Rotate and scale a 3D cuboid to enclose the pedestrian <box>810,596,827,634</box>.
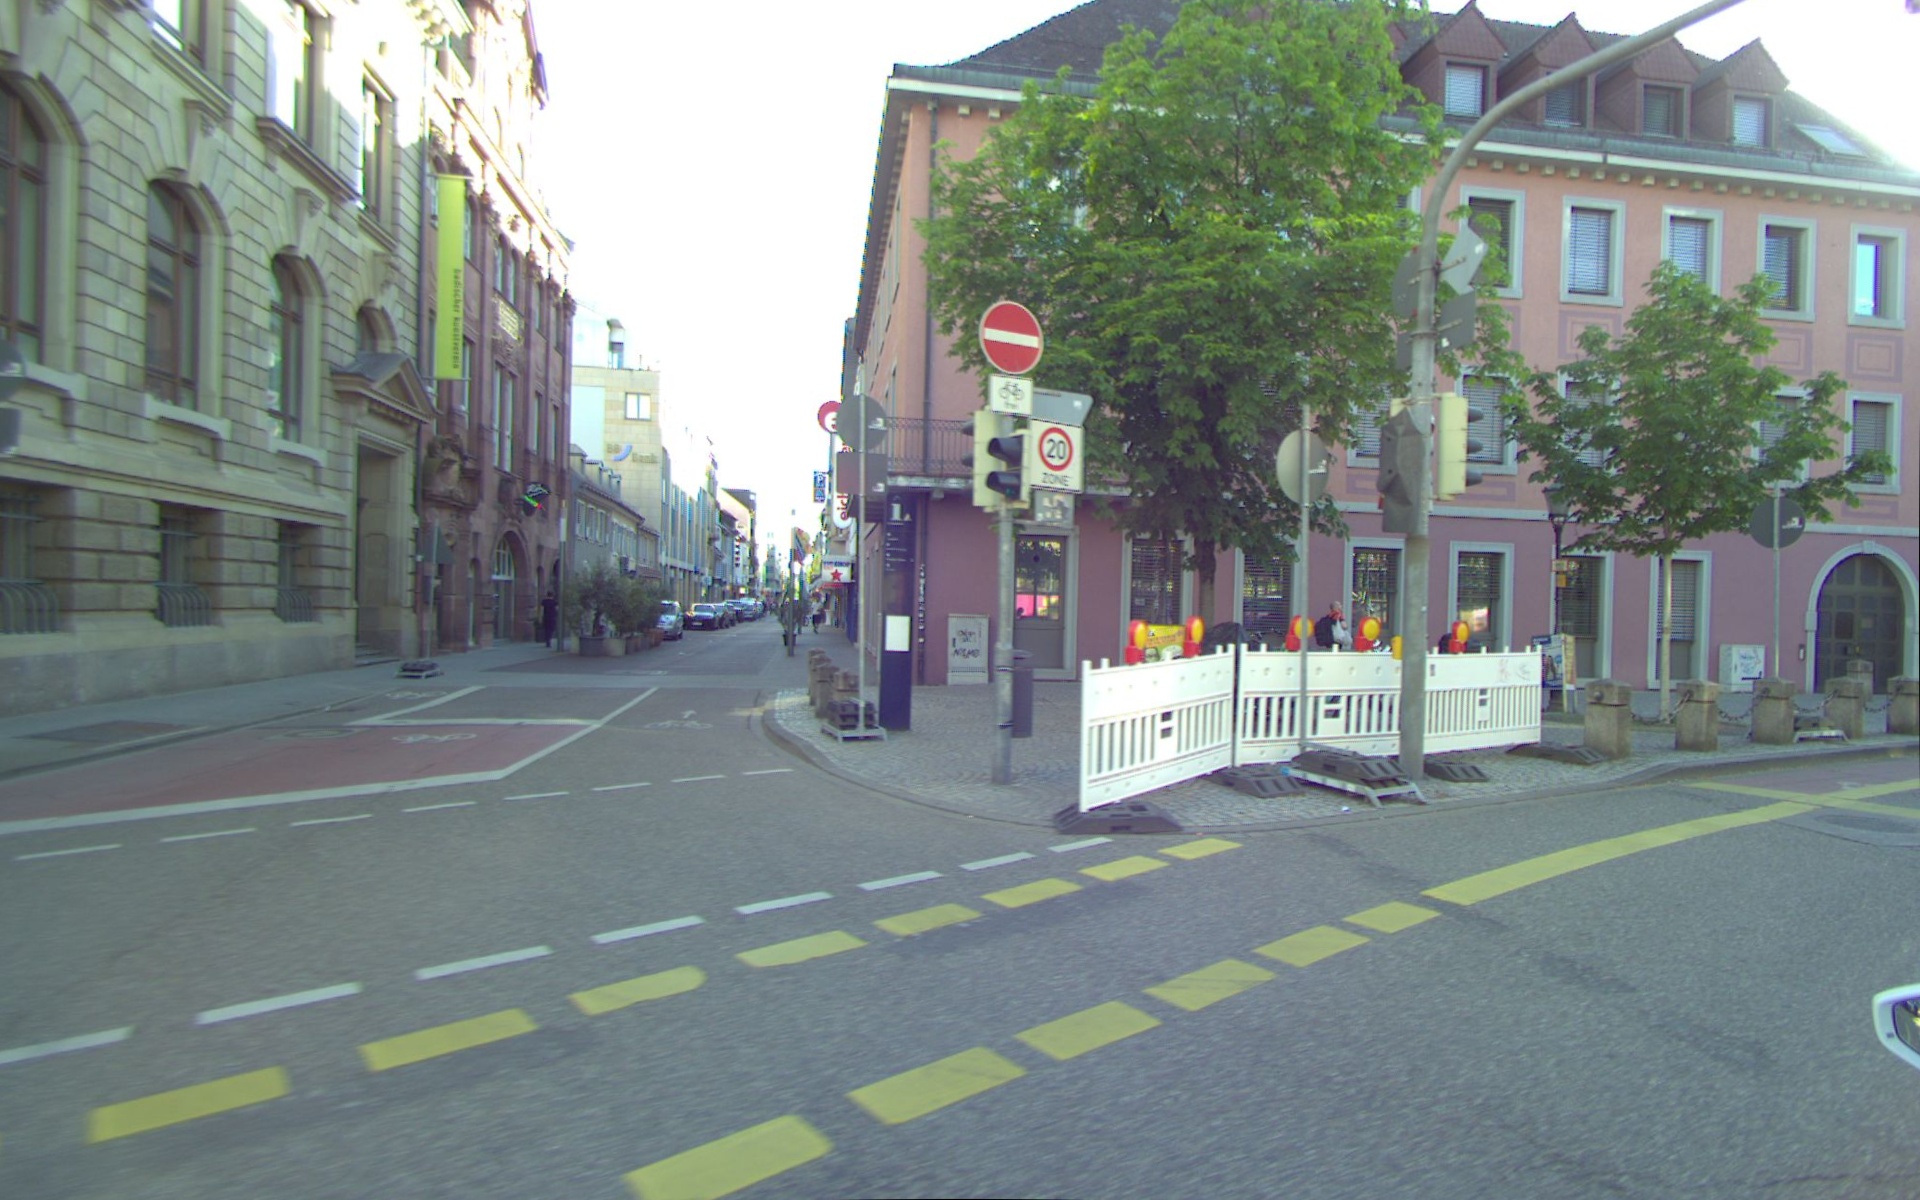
[{"bbox_3d":[-7.373,0.774,52.263,0.813,1.905,0.777,1,0,-10],"label":"pedestrian"}]

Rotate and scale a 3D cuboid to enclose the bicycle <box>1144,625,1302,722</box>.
[{"bbox_3d":[3.586,0.975,13.789,1.973,1.222,0.681,0,-3,36],"label":"bicycle"}]

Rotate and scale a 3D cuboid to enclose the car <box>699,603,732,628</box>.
[{"bbox_3d":[-15.200,0.954,62.600,1.802,1.508,3.991,1,0,-11],"label":"car"}]

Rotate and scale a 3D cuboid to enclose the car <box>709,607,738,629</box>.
[{"bbox_3d":[-16.521,1.242,70.197,1.802,1.508,3.991,1,0,-11],"label":"car"}]

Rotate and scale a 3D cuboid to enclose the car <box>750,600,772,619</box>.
[{"bbox_3d":[-19.360,0.911,97.837,1.964,1.795,3.994,1,0,-9],"label":"car"}]

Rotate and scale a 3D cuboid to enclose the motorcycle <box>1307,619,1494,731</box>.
[{"bbox_3d":[5.652,0.930,12.863,2.303,1.335,0.810,1,-1,-22],"label":"motorcycle"}]

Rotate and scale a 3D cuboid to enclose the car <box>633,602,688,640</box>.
[{"bbox_3d":[-12.590,0.863,42.435,1.802,1.508,3.991,1,0,-11],"label":"car"}]

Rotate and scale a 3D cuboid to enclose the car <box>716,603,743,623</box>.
[{"bbox_3d":[-18.324,1.022,80.024,1.801,1.508,3.993,1,0,-9],"label":"car"}]

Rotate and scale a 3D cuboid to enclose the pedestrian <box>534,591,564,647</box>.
[{"bbox_3d":[-12.954,0.594,31.667,0.762,1.728,0.478,1,0,-10],"label":"pedestrian"}]

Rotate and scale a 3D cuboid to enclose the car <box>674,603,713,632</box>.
[{"bbox_3d":[-14.881,0.961,56.255,1.802,1.508,3.991,1,0,-11],"label":"car"}]

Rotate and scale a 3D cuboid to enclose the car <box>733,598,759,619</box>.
[{"bbox_3d":[-19.049,0.755,89.547,1.964,1.795,3.994,1,0,-9],"label":"car"}]

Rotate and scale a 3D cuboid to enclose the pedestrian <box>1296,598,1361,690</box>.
[{"bbox_3d":[7.070,0.834,19.302,0.853,1.711,0.792,2,1,-8],"label":"pedestrian"}]
